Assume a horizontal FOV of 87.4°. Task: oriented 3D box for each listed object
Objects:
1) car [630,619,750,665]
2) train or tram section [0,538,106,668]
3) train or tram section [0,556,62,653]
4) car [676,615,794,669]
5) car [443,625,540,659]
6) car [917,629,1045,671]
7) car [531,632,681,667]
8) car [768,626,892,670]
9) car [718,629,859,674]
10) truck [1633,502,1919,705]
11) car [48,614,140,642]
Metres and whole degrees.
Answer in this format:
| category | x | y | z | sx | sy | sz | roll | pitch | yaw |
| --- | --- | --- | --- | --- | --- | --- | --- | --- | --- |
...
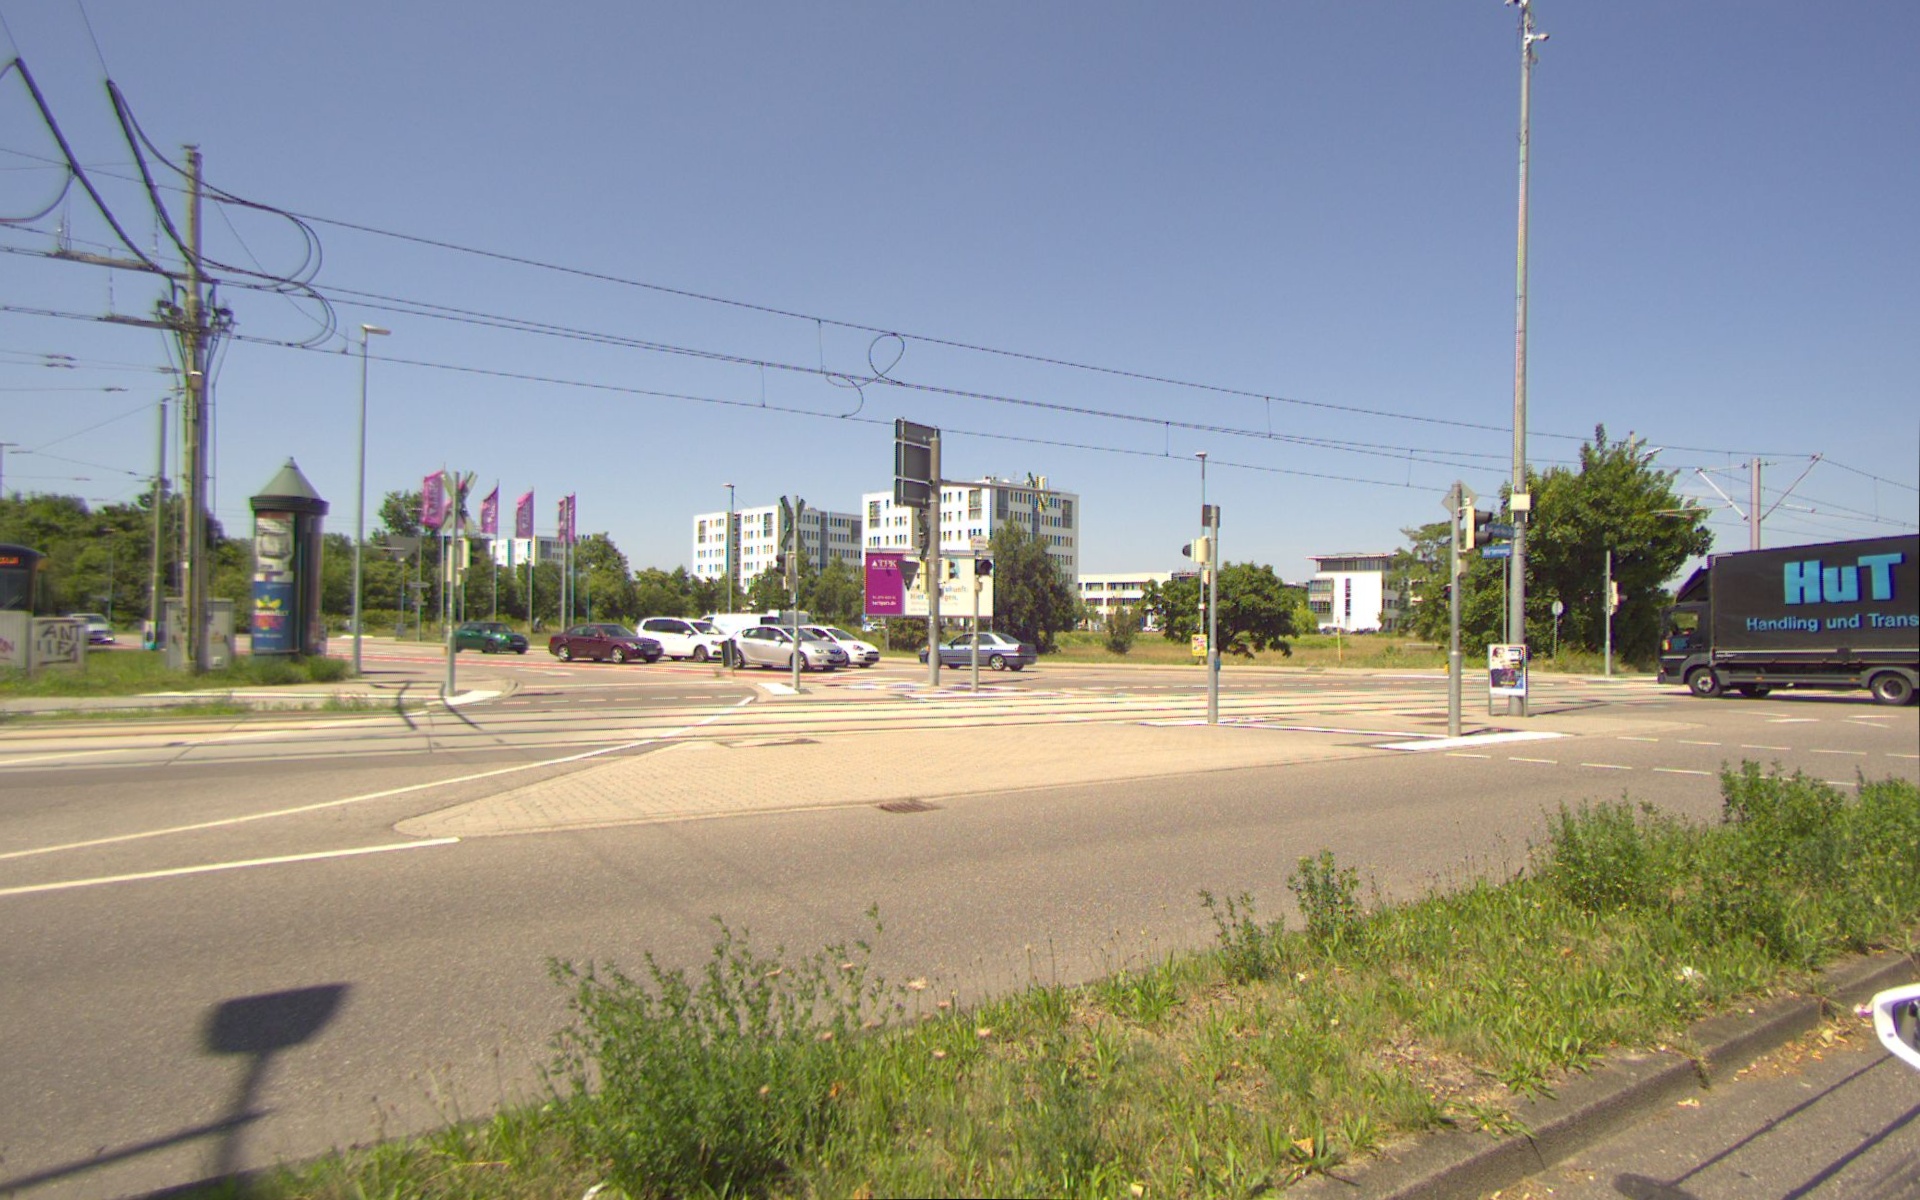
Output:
| category | x | y | z | sx | sy | sz | roll | pitch | yaw |
| --- | --- | --- | --- | --- | --- | --- | --- | --- | --- |
| car | -10.709 | 1.626 | 39.828 | 4.456 | 1.660 | 1.997 | 0 | 0 | 28 |
| train or tram section | -30.561 | -0.025 | 32.031 | 3.012 | 3.512 | 13.176 | 1 | 0 | -32 |
| train or tram section | -39.108 | 0.048 | 38.822 | 10.033 | 3.512 | 3.043 | 1 | 0 | 27 |
| car | -9.563 | 1.743 | 42.657 | 4.658 | 2.139 | 1.998 | 0 | 0 | 26 |
| car | -21.264 | 1.861 | 45.580 | 4.154 | 1.390 | 1.896 | 0 | 0 | 28 |
| car | 0.773 | 1.802 | 37.010 | 4.350 | 1.390 | 1.896 | 0 | 0 | 29 |
| car | -13.022 | 1.786 | 36.972 | 5.135 | 1.147 | 1.899 | 0 | 0 | 18 |
| car | -4.780 | 1.723 | 36.809 | 4.203 | 1.431 | 1.896 | 0 | 0 | 29 |
| car | -5.661 | 1.668 | 33.097 | 4.200 | 1.311 | 1.998 | 0 | 0 | 25 |
| truck | 21.388 | 0.194 | 24.578 | 2.791 | 4.401 | 8.253 | 2 | -2 | -17 |
| car | -44.287 | 1.405 | 51.365 | 4.149 | 1.390 | 1.898 | 0 | 0 | 22 |
